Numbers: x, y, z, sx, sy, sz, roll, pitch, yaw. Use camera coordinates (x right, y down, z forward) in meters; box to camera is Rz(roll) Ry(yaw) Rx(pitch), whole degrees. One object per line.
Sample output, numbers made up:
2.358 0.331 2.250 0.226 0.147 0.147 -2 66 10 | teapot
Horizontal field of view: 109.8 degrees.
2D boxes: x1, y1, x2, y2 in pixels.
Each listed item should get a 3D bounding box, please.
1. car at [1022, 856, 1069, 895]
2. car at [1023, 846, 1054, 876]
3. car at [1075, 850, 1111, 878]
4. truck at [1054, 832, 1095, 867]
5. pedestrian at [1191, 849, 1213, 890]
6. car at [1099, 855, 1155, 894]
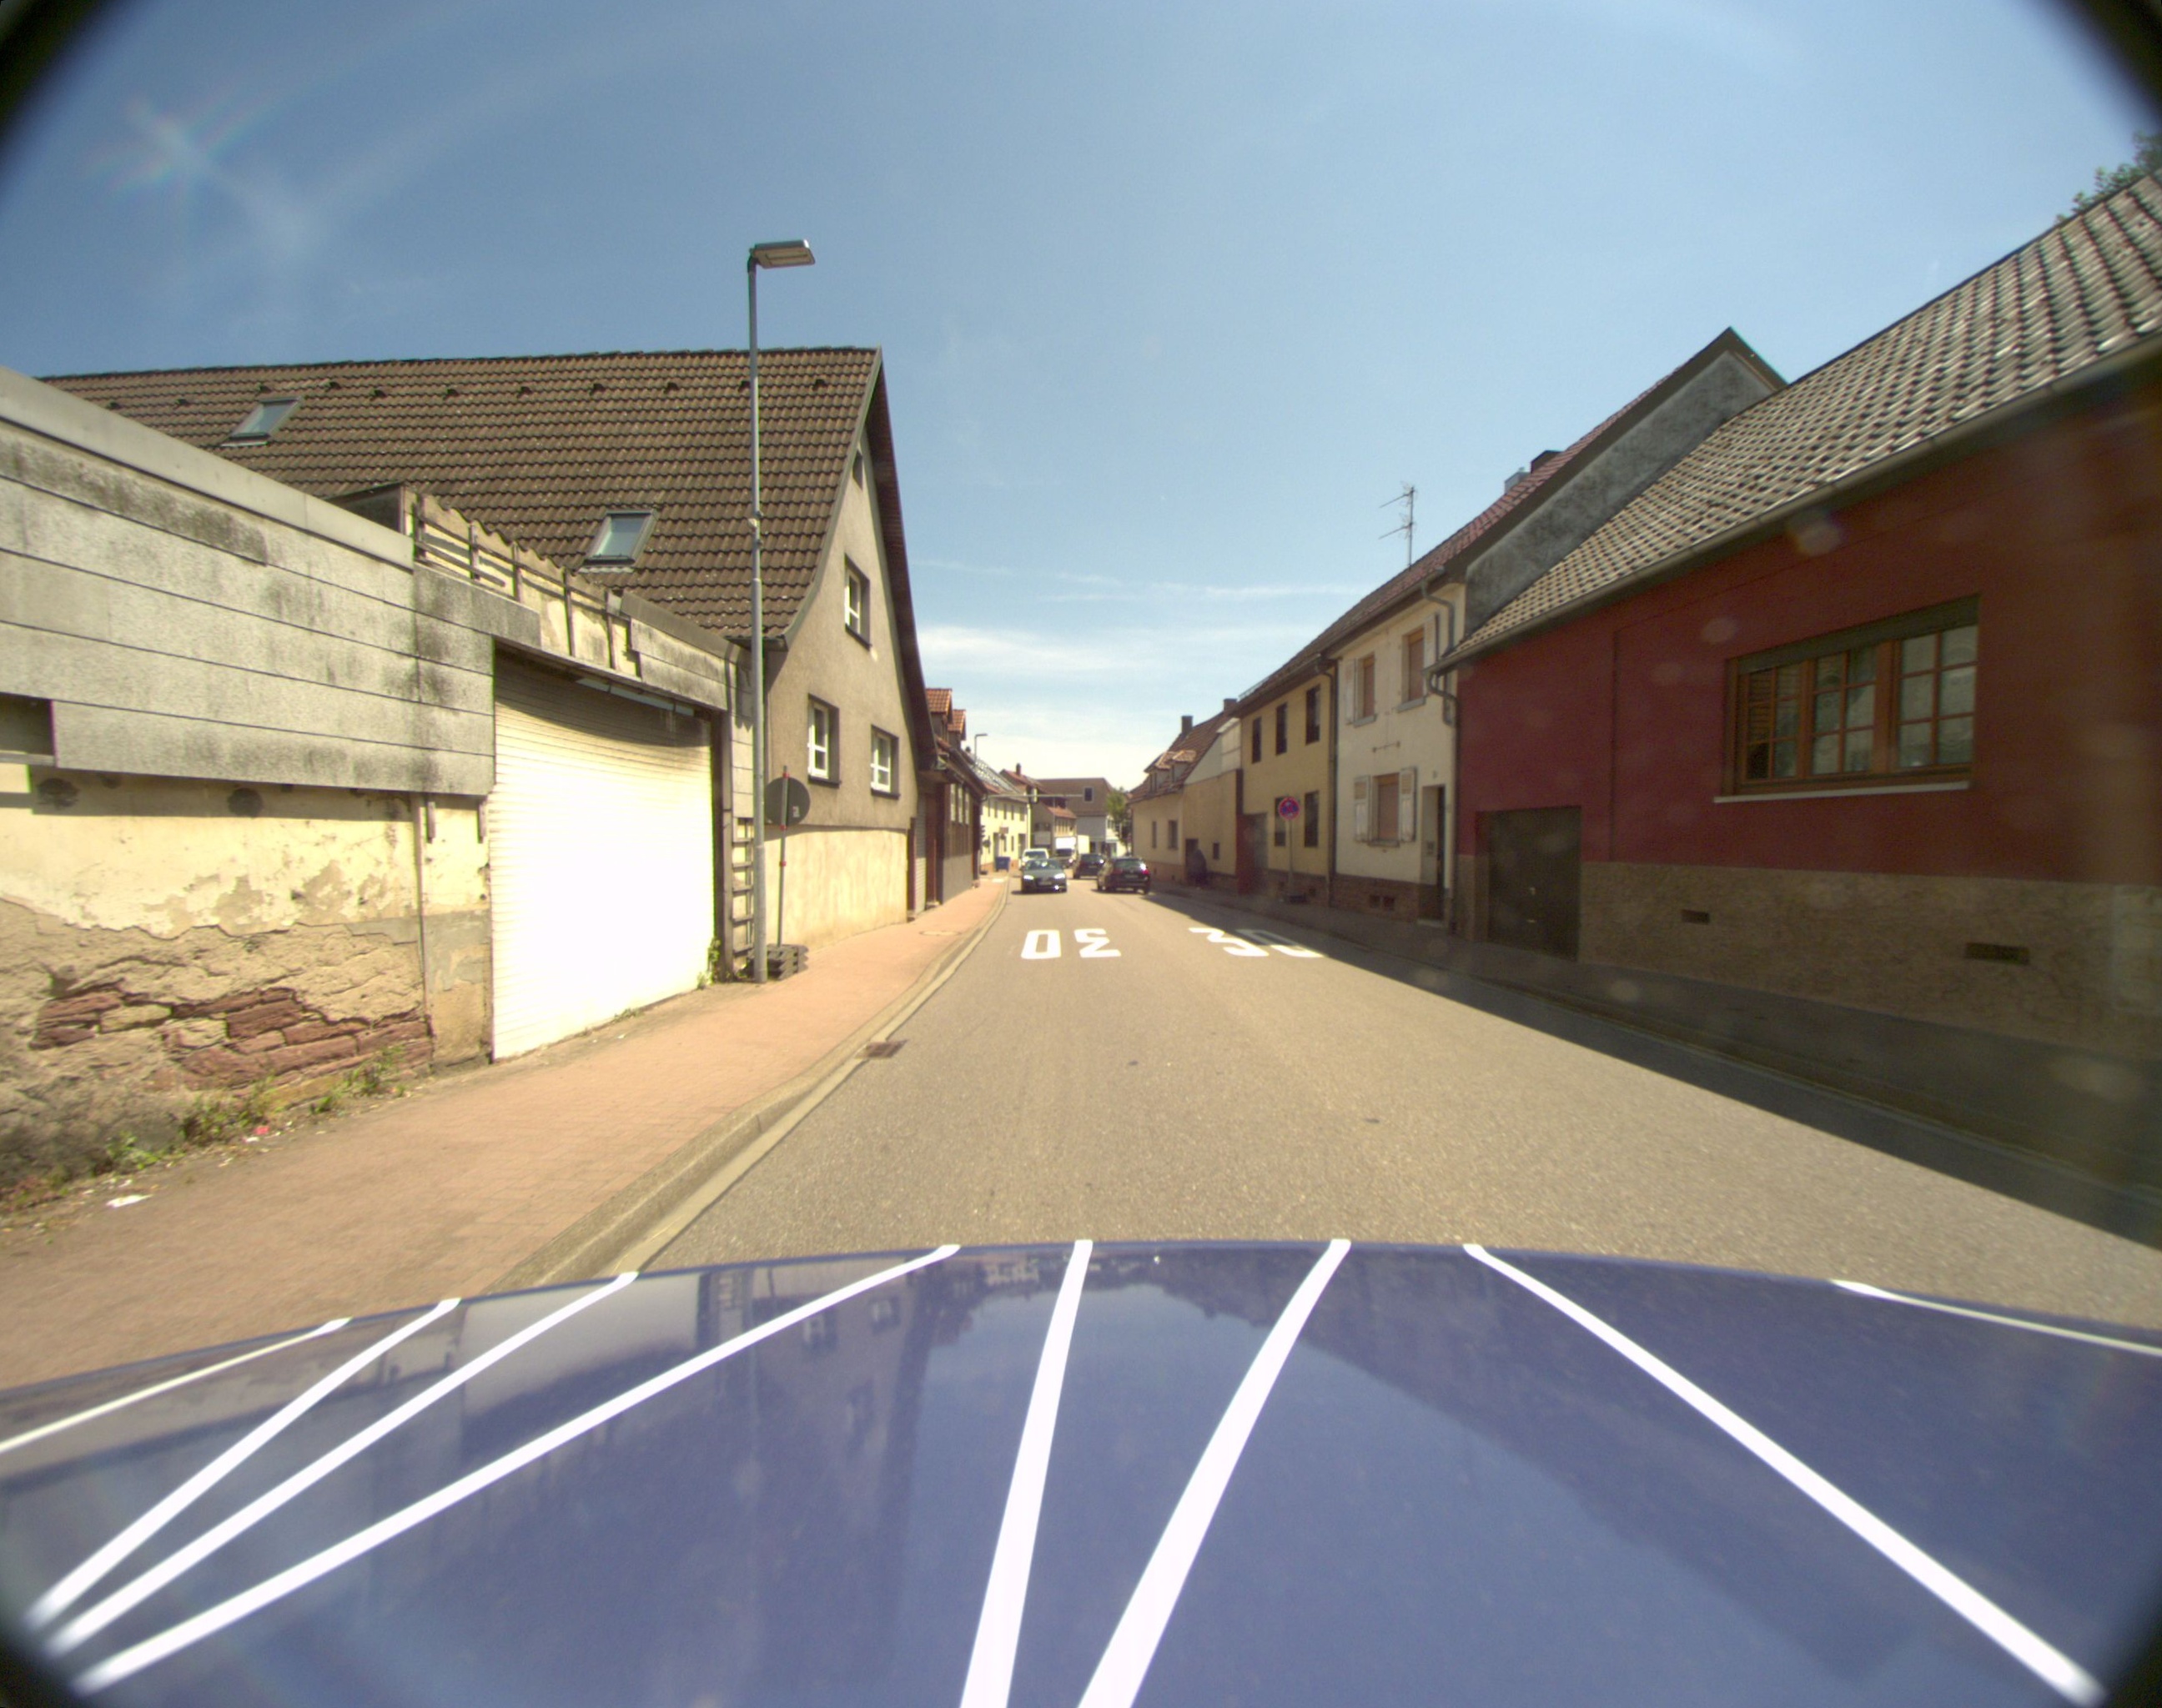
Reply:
-1.467 0.830 31.094 1.786 1.365 3.605 -1 1 -3 | car
-2.944 0.420 54.061 2.079 1.949 5.516 -1 1 -2 | car
0.695 0.594 46.974 1.817 1.600 4.335 1 0 -5 | car
-0.596 -0.580 81.016 2.864 3.492 8.324 1 2 10 | truck
4.795 0.603 30.131 0.663 1.555 0.754 -1 2 -3 | pedestrian
1.789 0.774 30.830 1.699 1.401 4.198 1 1 -5 | car
